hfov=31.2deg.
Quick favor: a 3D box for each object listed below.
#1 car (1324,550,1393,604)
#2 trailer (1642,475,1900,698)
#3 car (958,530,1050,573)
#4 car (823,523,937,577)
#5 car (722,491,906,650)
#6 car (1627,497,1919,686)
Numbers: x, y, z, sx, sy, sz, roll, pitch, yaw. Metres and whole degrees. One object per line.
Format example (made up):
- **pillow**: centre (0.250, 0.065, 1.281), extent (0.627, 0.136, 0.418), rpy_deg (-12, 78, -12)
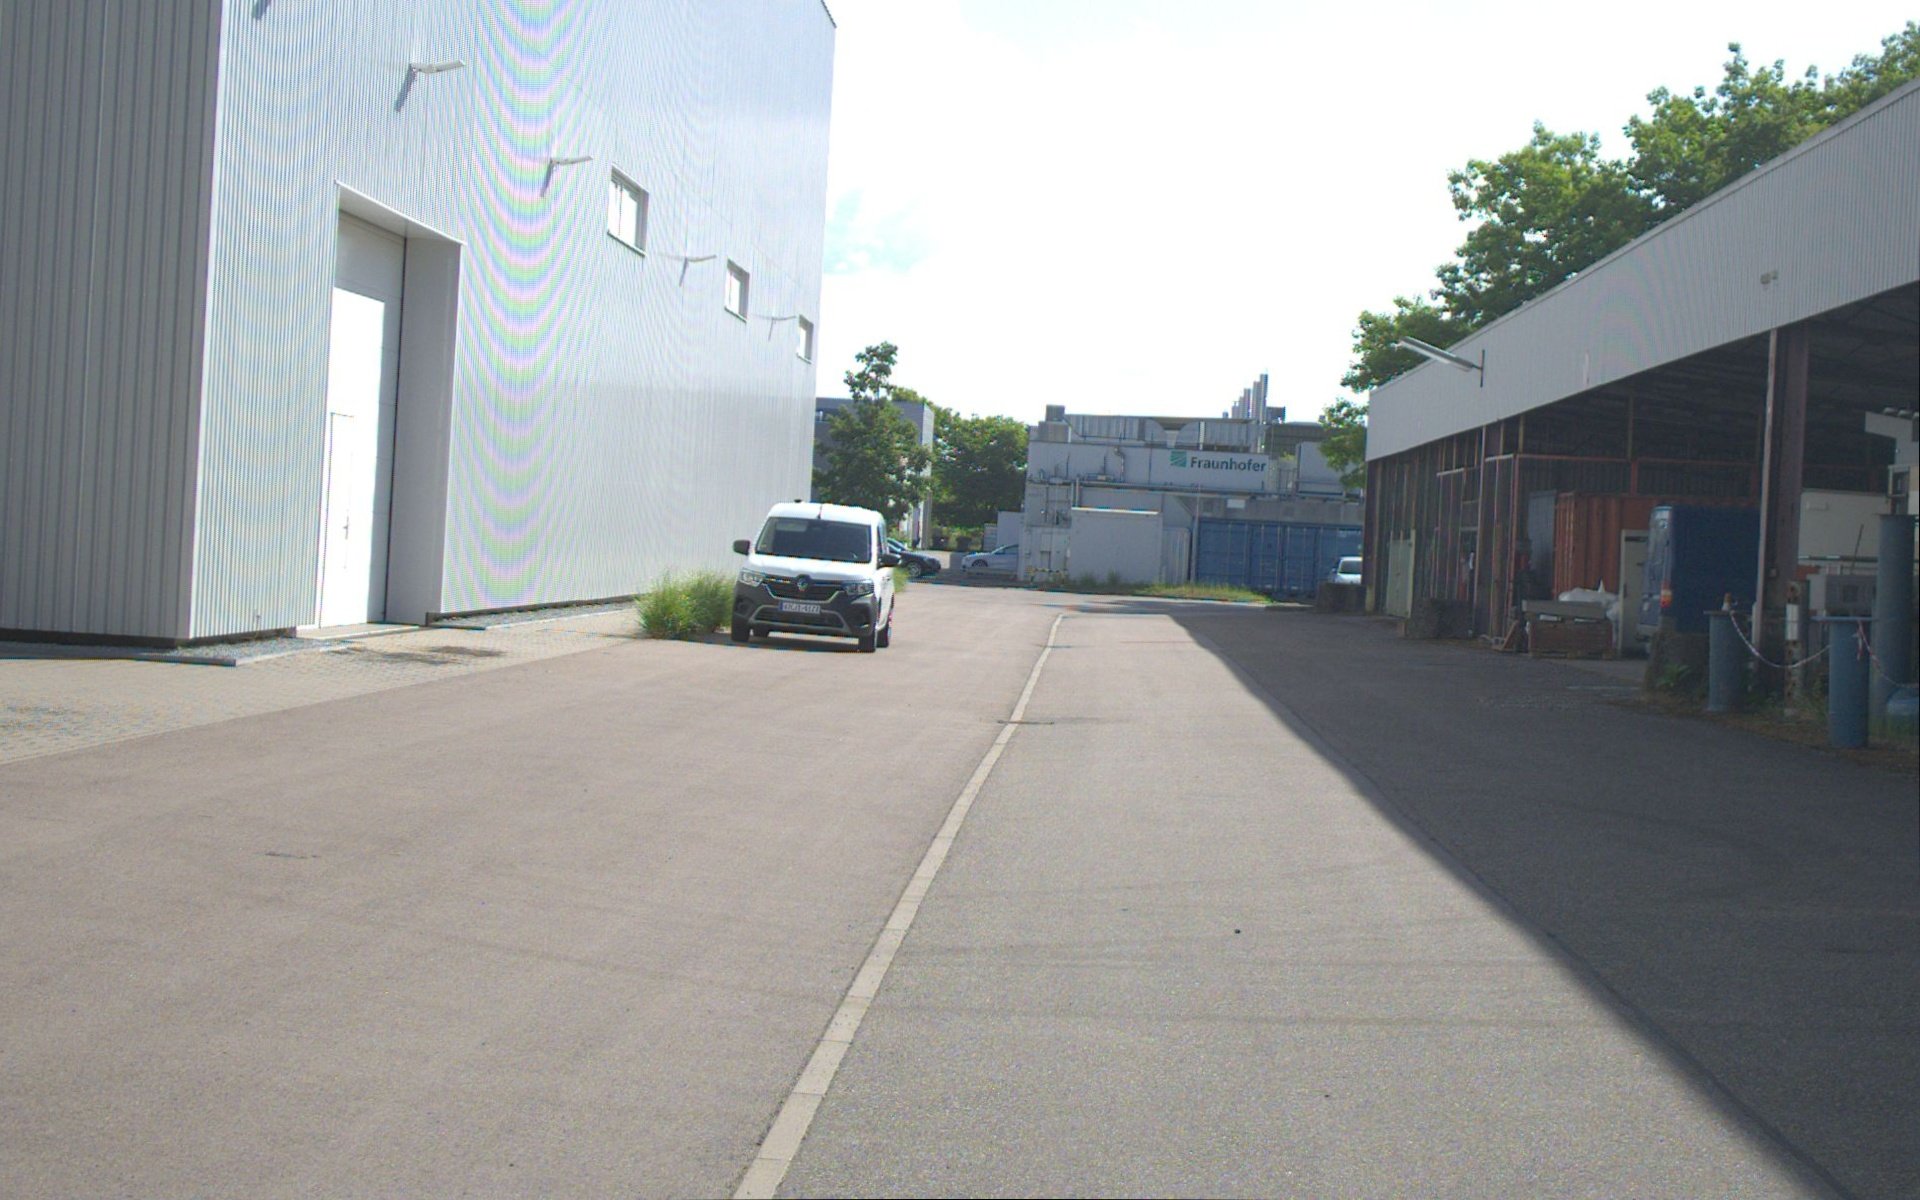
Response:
- **car**: centre (13.054, -0.779, 112.901), extent (1.962, 1.559, 4.058), rpy_deg (5, 2, 4)
- **trailer**: centre (9.339, -0.157, 39.738), extent (2.524, 2.390, 1.726), rpy_deg (3, 0, 3)
- **car**: centre (1.968, -2.163, 153.754), extent (3.987, 1.592, 1.848), rpy_deg (5, -1, 1)
- **car**: centre (-2.932, -1.832, 126.078), extent (3.987, 1.592, 1.741), rpy_deg (5, -1, 1)
- **car**: centre (-1.803, -0.407, 43.728), extent (1.819, 1.781, 4.405), rpy_deg (5, 1, 3)
- **car**: centre (11.845, -0.083, 48.417), extent (4.433, 2.301, 1.915), rpy_deg (5, -1, 3)
